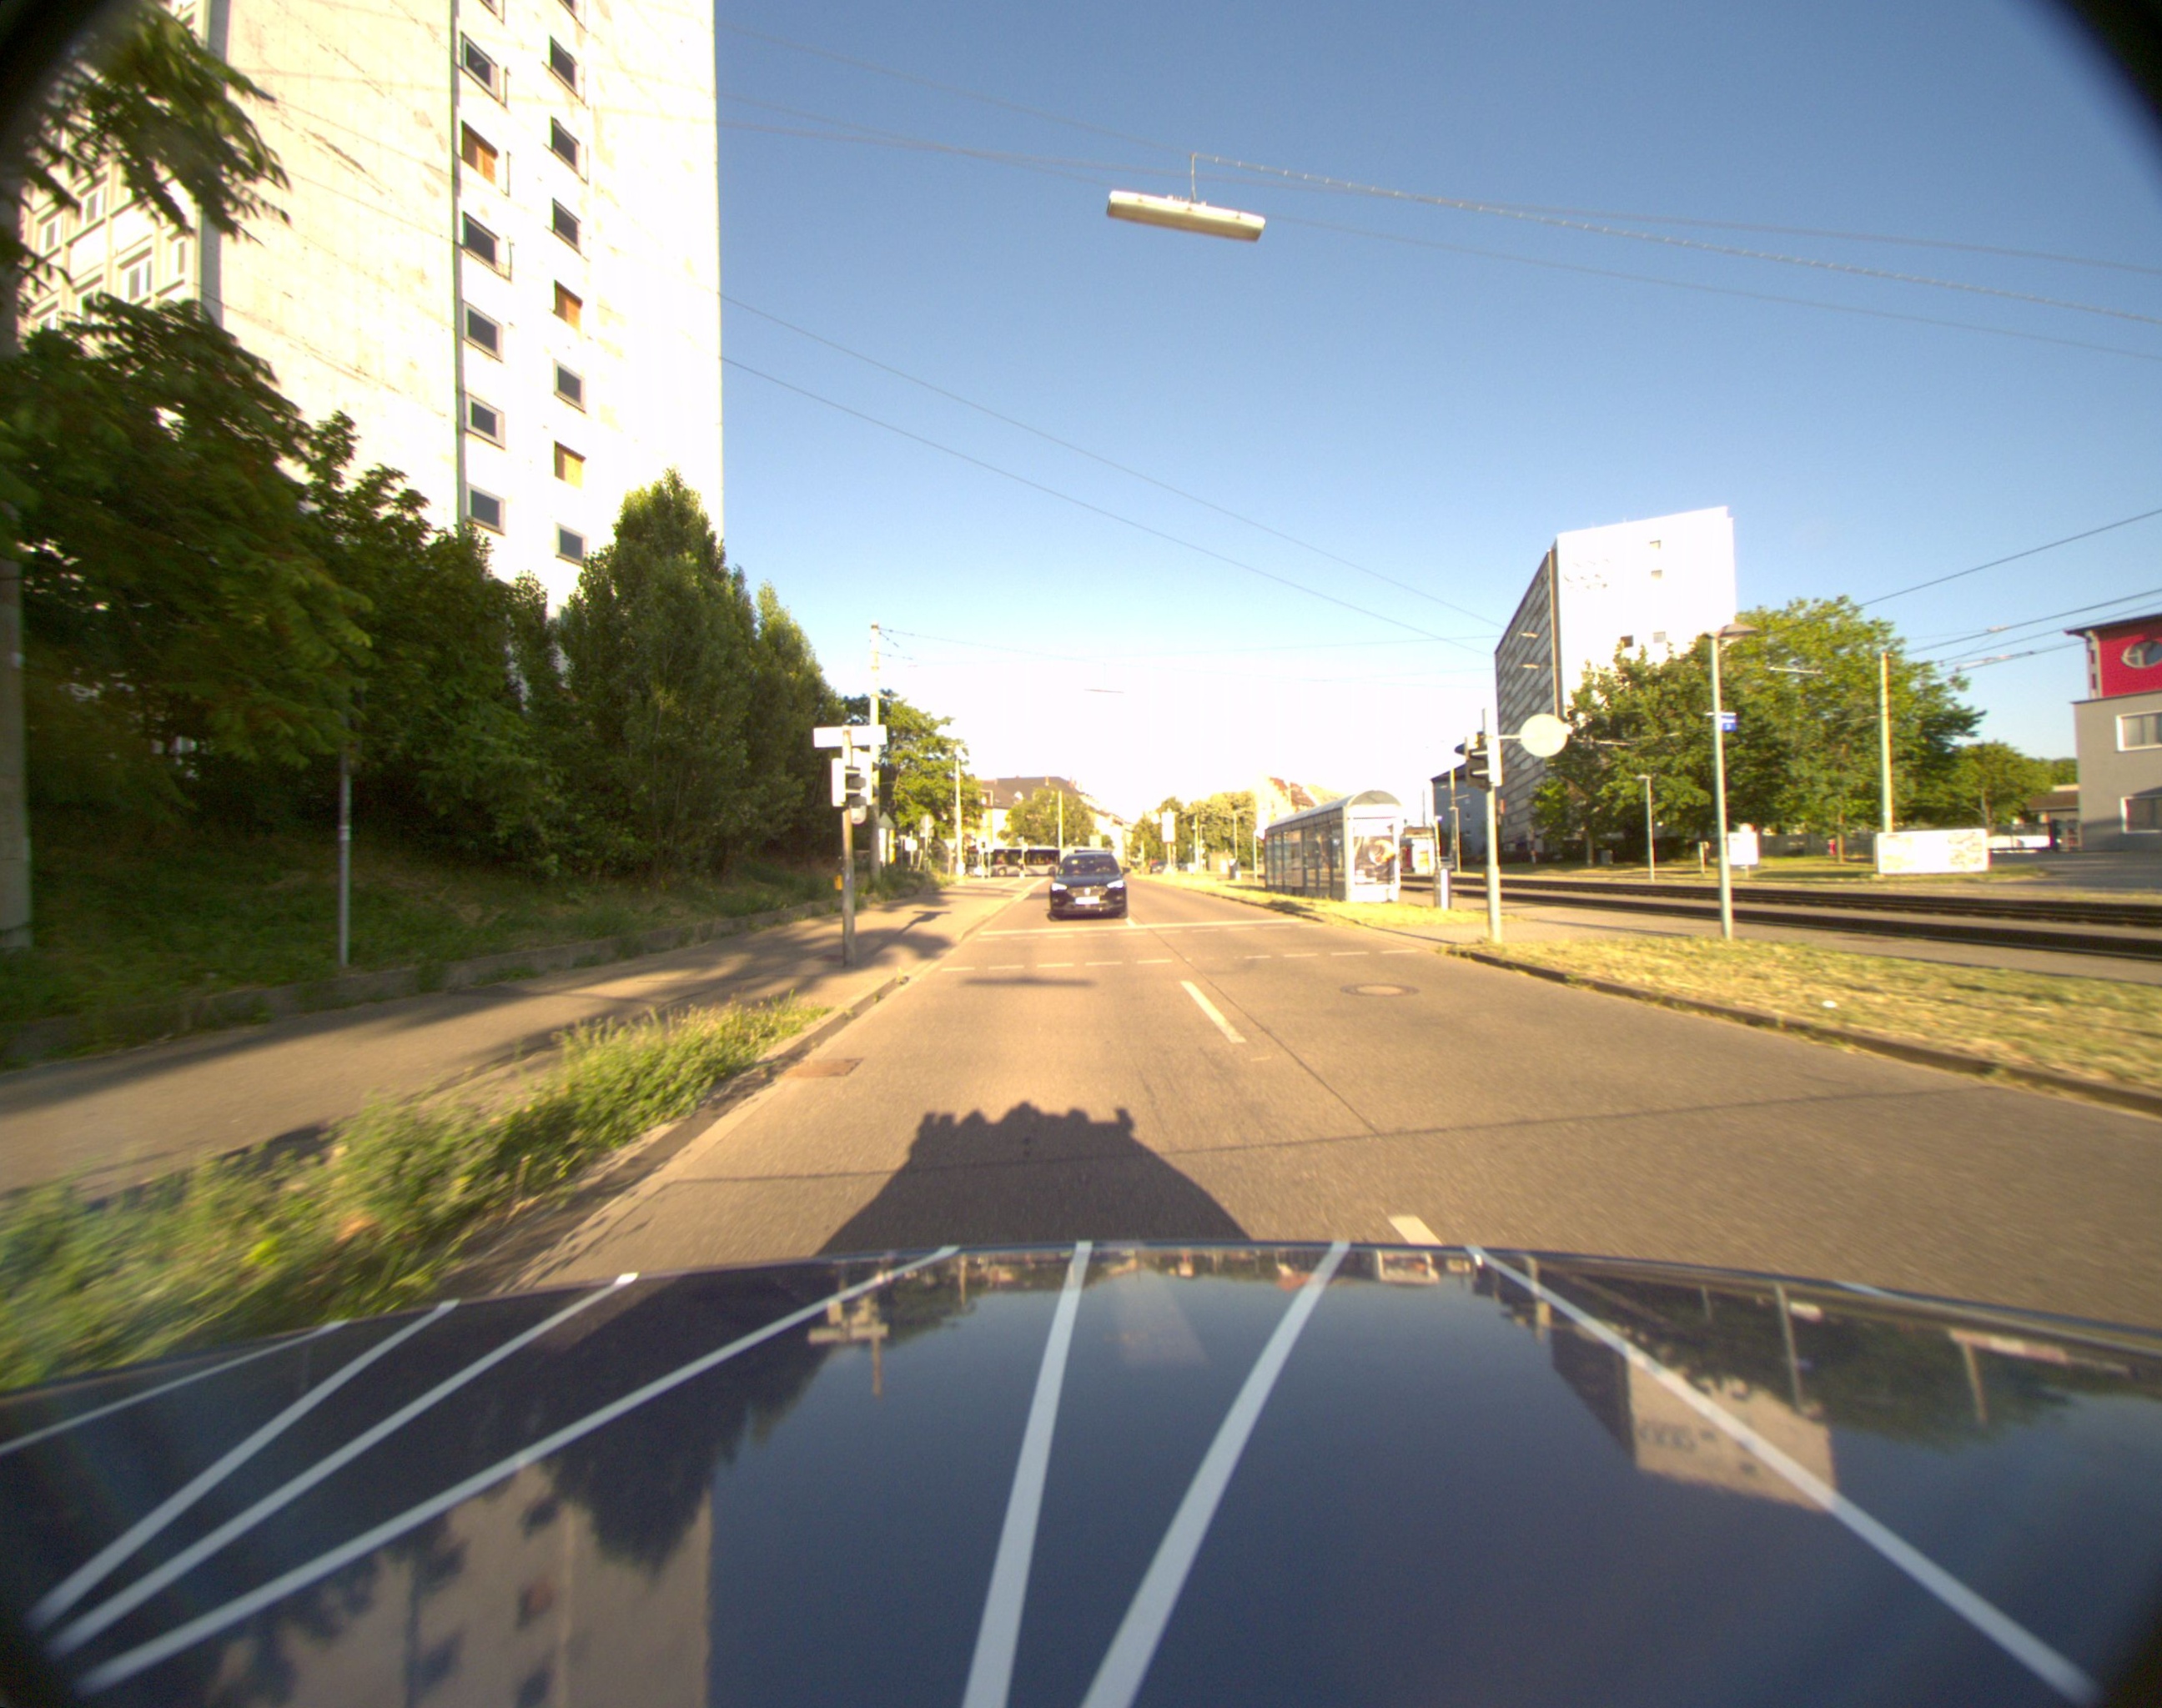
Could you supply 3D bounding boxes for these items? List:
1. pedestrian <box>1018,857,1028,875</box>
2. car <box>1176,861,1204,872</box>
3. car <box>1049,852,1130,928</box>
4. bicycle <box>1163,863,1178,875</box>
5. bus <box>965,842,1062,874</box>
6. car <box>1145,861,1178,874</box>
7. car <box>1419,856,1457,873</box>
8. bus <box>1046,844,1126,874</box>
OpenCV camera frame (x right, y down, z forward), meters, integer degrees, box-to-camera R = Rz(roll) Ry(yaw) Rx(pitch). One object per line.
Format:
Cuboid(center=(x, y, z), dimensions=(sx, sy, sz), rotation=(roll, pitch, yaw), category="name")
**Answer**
Cuboid(center=(-4.903, 1.021, 64.480), dimensions=(0.592, 1.586, 0.547), rotation=(-1, 0, 36), category="pedestrian")
Cuboid(center=(15.103, 1.718, 105.259), dimensions=(3.987, 1.405, 1.737), rotation=(0, -1, -43), category="car")
Cuboid(center=(0.236, 0.815, 19.662), dimensions=(1.818, 1.670, 4.623), rotation=(-1, 1, 1), category="car")
Cuboid(center=(7.570, 1.245, 64.159), dimensions=(0.606, 0.987, 1.750), rotation=(-1, 0, 30), category="bicycle")
Cuboid(center=(-6.532, 0.363, 74.985), dimensions=(9.596, 3.007, 2.607), rotation=(-1, 0, -39), category="bus")
Cuboid(center=(9.872, 1.623, 93.224), dimensions=(3.987, 1.465, 1.737), rotation=(0, -1, -43), category="car")
Cuboid(center=(34.690, 1.061, 74.004), dimensions=(1.740, 1.539, 4.437), rotation=(-1, -1, 3), category="car")
Cuboid(center=(0.643, 0.456, 80.832), dimensions=(8.876, 3.007, 2.606), rotation=(-1, 0, -40), category="bus")
